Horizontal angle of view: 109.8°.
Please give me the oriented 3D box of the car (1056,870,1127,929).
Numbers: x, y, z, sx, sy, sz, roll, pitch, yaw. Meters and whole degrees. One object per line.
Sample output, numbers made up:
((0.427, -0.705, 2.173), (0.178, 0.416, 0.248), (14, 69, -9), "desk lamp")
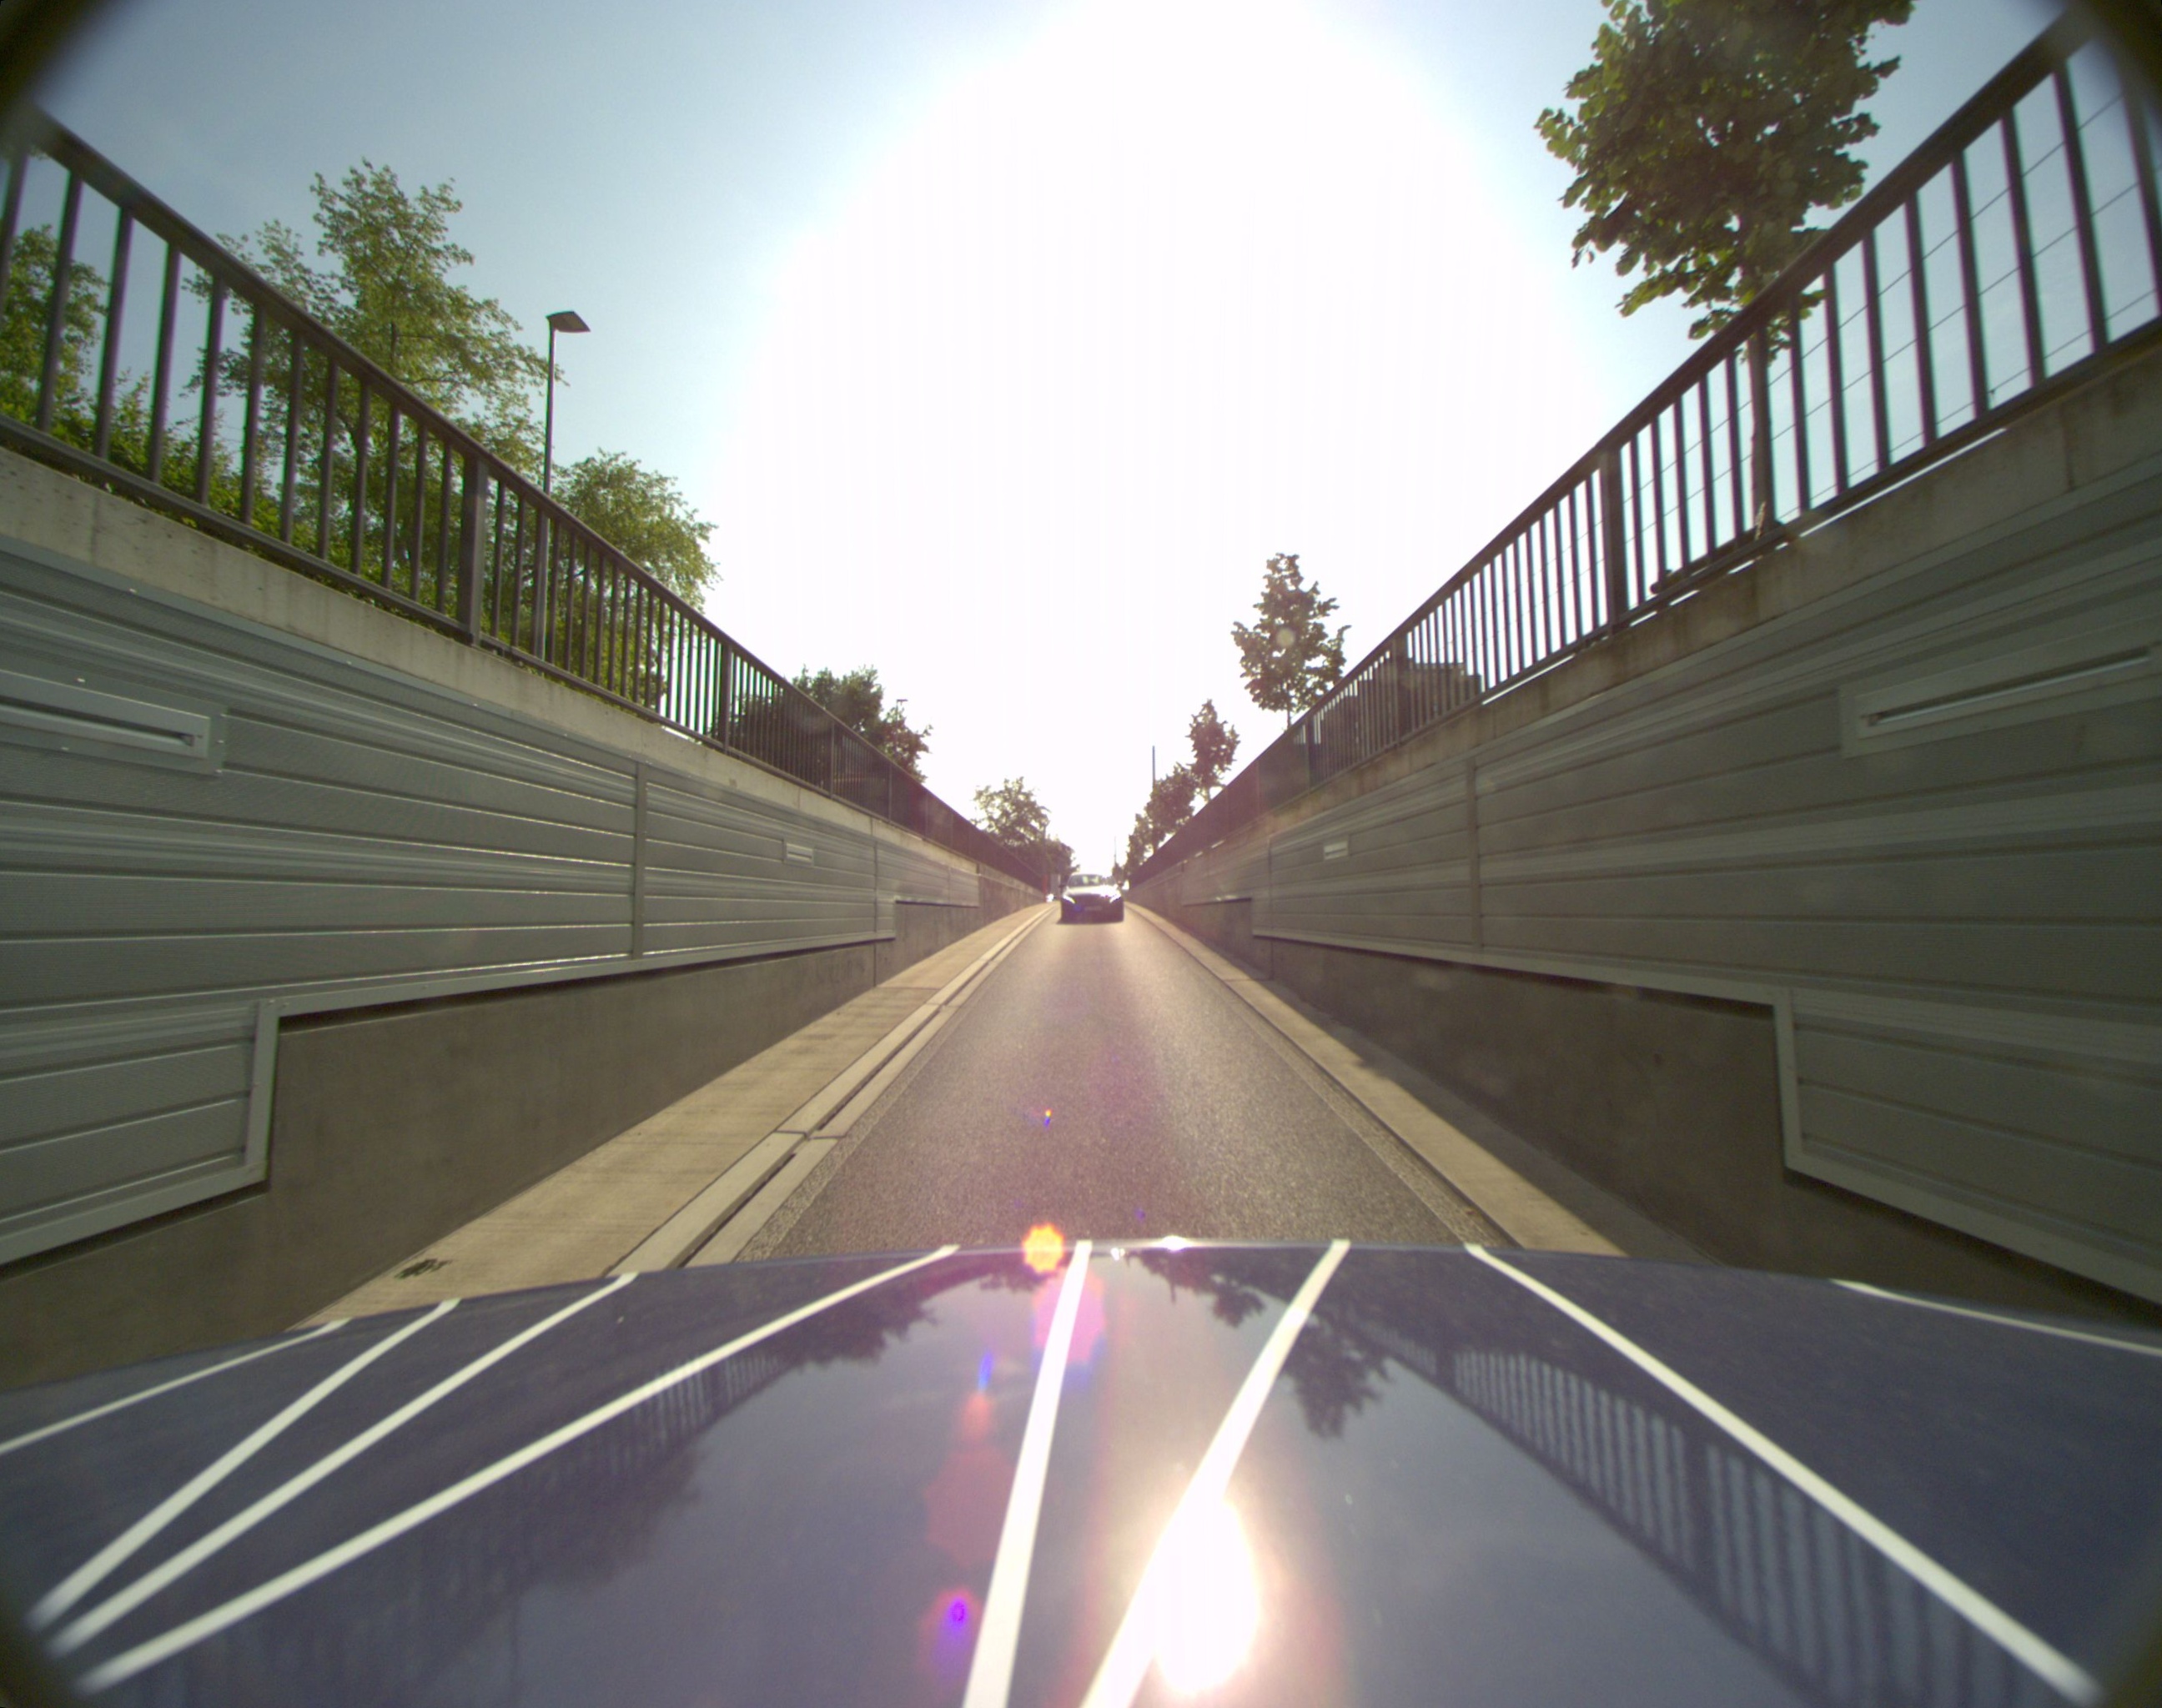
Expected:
((0.371, 1.231, 22.060), (1.759, 1.437, 4.619), (-3, -1, 2), "car")

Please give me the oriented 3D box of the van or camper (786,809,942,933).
((-5.007, 0.532, 18.600), (1.991, 2.456, 6.065), (-3, -3, 0), "van or camper")

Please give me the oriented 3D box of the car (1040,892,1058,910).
((-3.782, 5.557, 89.627), (1.999, 2.000, 4.002), (-3, -4, -2), "car")
